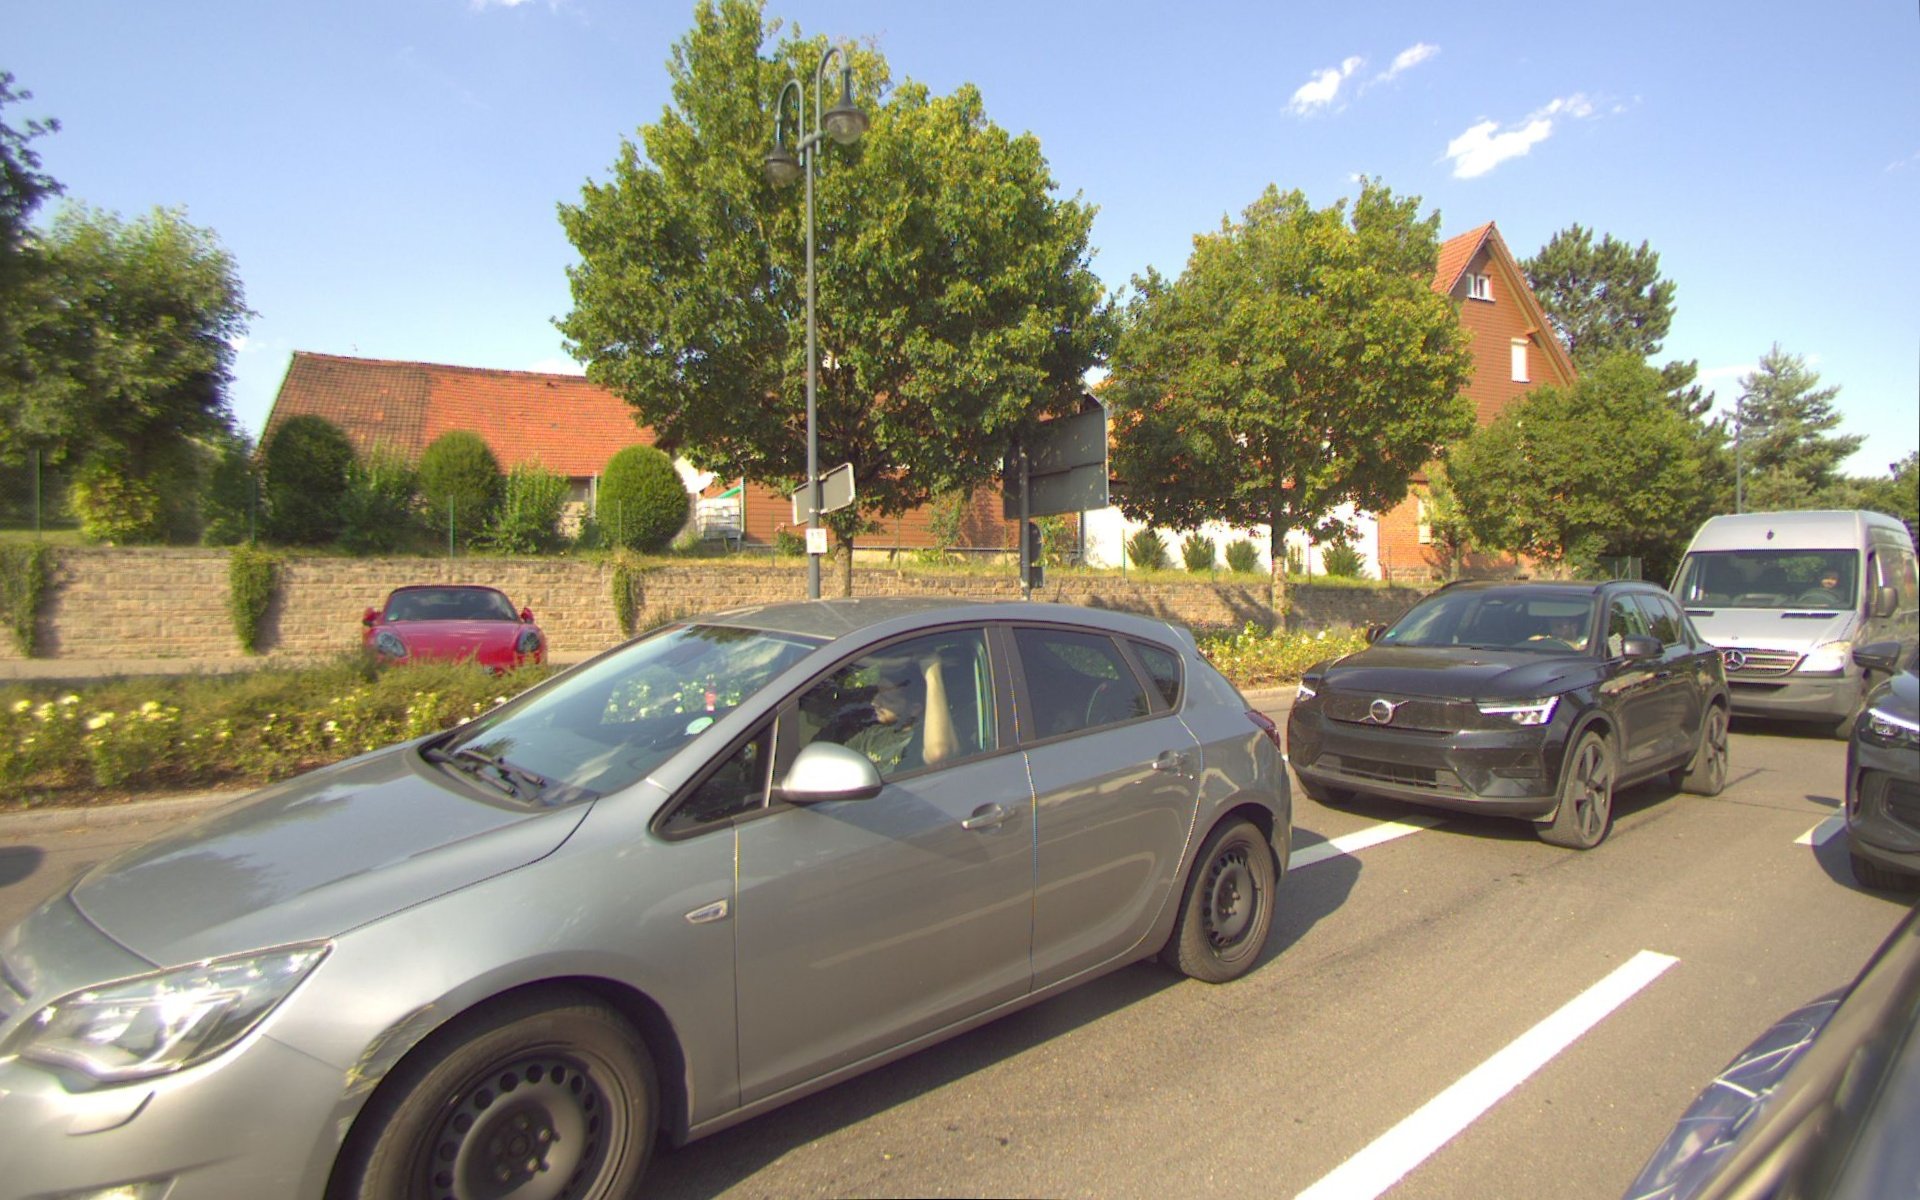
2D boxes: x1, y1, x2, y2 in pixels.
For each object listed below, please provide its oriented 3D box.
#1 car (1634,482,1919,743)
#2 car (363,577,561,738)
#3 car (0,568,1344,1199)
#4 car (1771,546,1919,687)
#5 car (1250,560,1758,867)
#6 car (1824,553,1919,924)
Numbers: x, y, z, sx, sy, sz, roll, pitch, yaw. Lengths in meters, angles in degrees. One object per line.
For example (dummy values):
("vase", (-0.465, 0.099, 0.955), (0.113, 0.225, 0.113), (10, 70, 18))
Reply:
("car", (10.667, 0.085, 12.757), (5.938, 2.601, 1.992), (0, 1, -40))
("car", (-5.890, 0.528, 11.712), (1.743, 1.510, 4.156), (0, 0, -31))
("car", (-0.552, 0.667, 3.521), (4.244, 1.471, 1.765), (0, 2, -42))
("car", (15.068, 0.210, 16.671), (4.242, 2.055, 1.844), (0, 1, -40))
("car", (4.167, 0.569, 7.451), (4.242, 1.629, 1.844), (0, 2, -40))
("car", (6.221, 0.620, 5.336), (4.242, 1.629, 1.844), (0, 2, -40))
